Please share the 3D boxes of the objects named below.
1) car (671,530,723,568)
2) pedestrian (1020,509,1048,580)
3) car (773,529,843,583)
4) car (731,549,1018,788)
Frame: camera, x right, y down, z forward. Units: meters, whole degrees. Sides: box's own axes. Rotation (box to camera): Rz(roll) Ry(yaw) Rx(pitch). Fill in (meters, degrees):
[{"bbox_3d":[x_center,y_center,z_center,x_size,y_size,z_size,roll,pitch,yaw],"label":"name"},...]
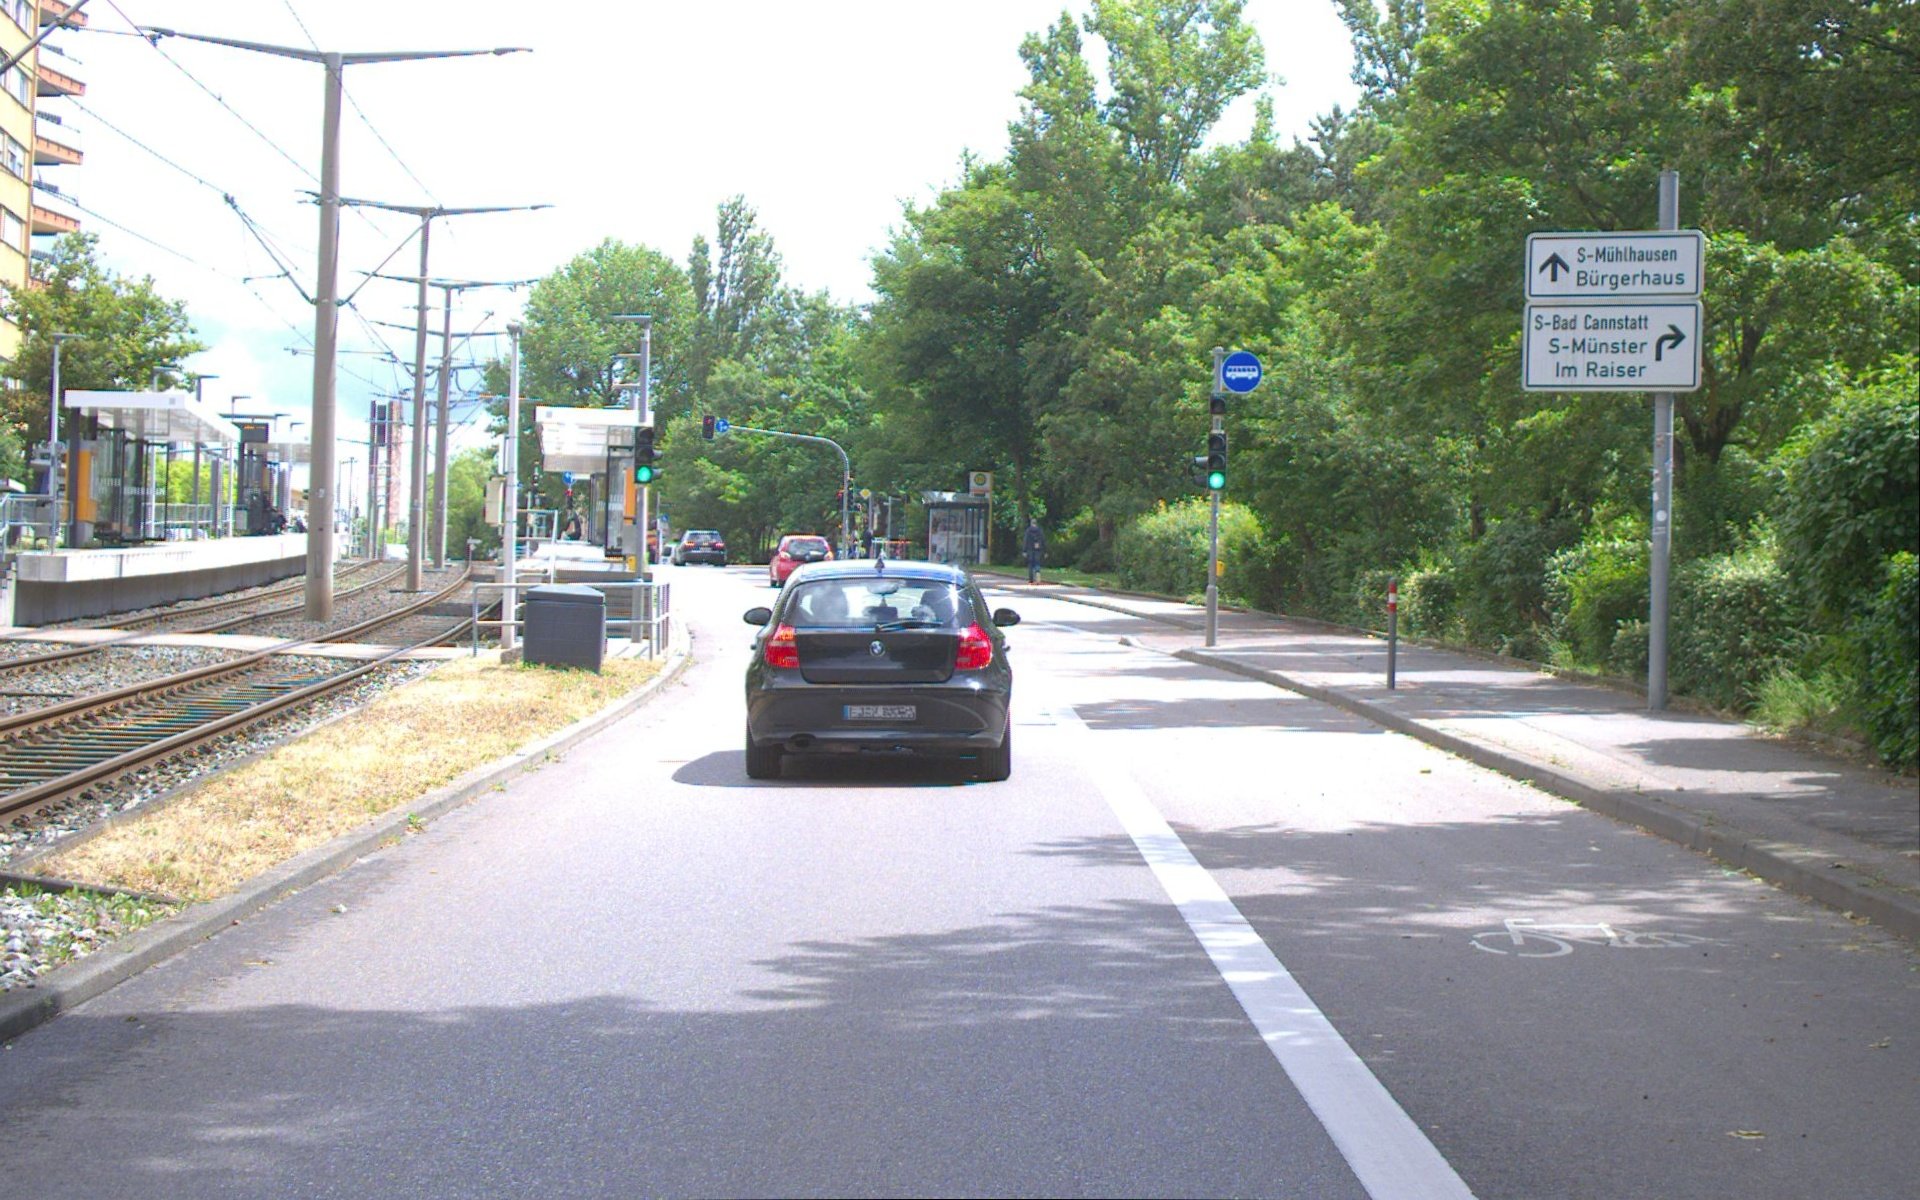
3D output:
[{"bbox_3d":[-10.597,-2.056,138.206,1.909,1.454,4.003,1,1,-7],"label":"car"},{"bbox_3d":[2.104,-1.583,98.077,0.740,2.007,0.681,1,1,0],"label":"pedestrian"},{"bbox_3d":[-4.293,-1.253,96.531,1.781,1.454,3.922,1,1,-5],"label":"car"},{"bbox_3d":[-0.638,0.397,23.274,1.781,1.454,3.922,0,1,-3],"label":"car"}]
